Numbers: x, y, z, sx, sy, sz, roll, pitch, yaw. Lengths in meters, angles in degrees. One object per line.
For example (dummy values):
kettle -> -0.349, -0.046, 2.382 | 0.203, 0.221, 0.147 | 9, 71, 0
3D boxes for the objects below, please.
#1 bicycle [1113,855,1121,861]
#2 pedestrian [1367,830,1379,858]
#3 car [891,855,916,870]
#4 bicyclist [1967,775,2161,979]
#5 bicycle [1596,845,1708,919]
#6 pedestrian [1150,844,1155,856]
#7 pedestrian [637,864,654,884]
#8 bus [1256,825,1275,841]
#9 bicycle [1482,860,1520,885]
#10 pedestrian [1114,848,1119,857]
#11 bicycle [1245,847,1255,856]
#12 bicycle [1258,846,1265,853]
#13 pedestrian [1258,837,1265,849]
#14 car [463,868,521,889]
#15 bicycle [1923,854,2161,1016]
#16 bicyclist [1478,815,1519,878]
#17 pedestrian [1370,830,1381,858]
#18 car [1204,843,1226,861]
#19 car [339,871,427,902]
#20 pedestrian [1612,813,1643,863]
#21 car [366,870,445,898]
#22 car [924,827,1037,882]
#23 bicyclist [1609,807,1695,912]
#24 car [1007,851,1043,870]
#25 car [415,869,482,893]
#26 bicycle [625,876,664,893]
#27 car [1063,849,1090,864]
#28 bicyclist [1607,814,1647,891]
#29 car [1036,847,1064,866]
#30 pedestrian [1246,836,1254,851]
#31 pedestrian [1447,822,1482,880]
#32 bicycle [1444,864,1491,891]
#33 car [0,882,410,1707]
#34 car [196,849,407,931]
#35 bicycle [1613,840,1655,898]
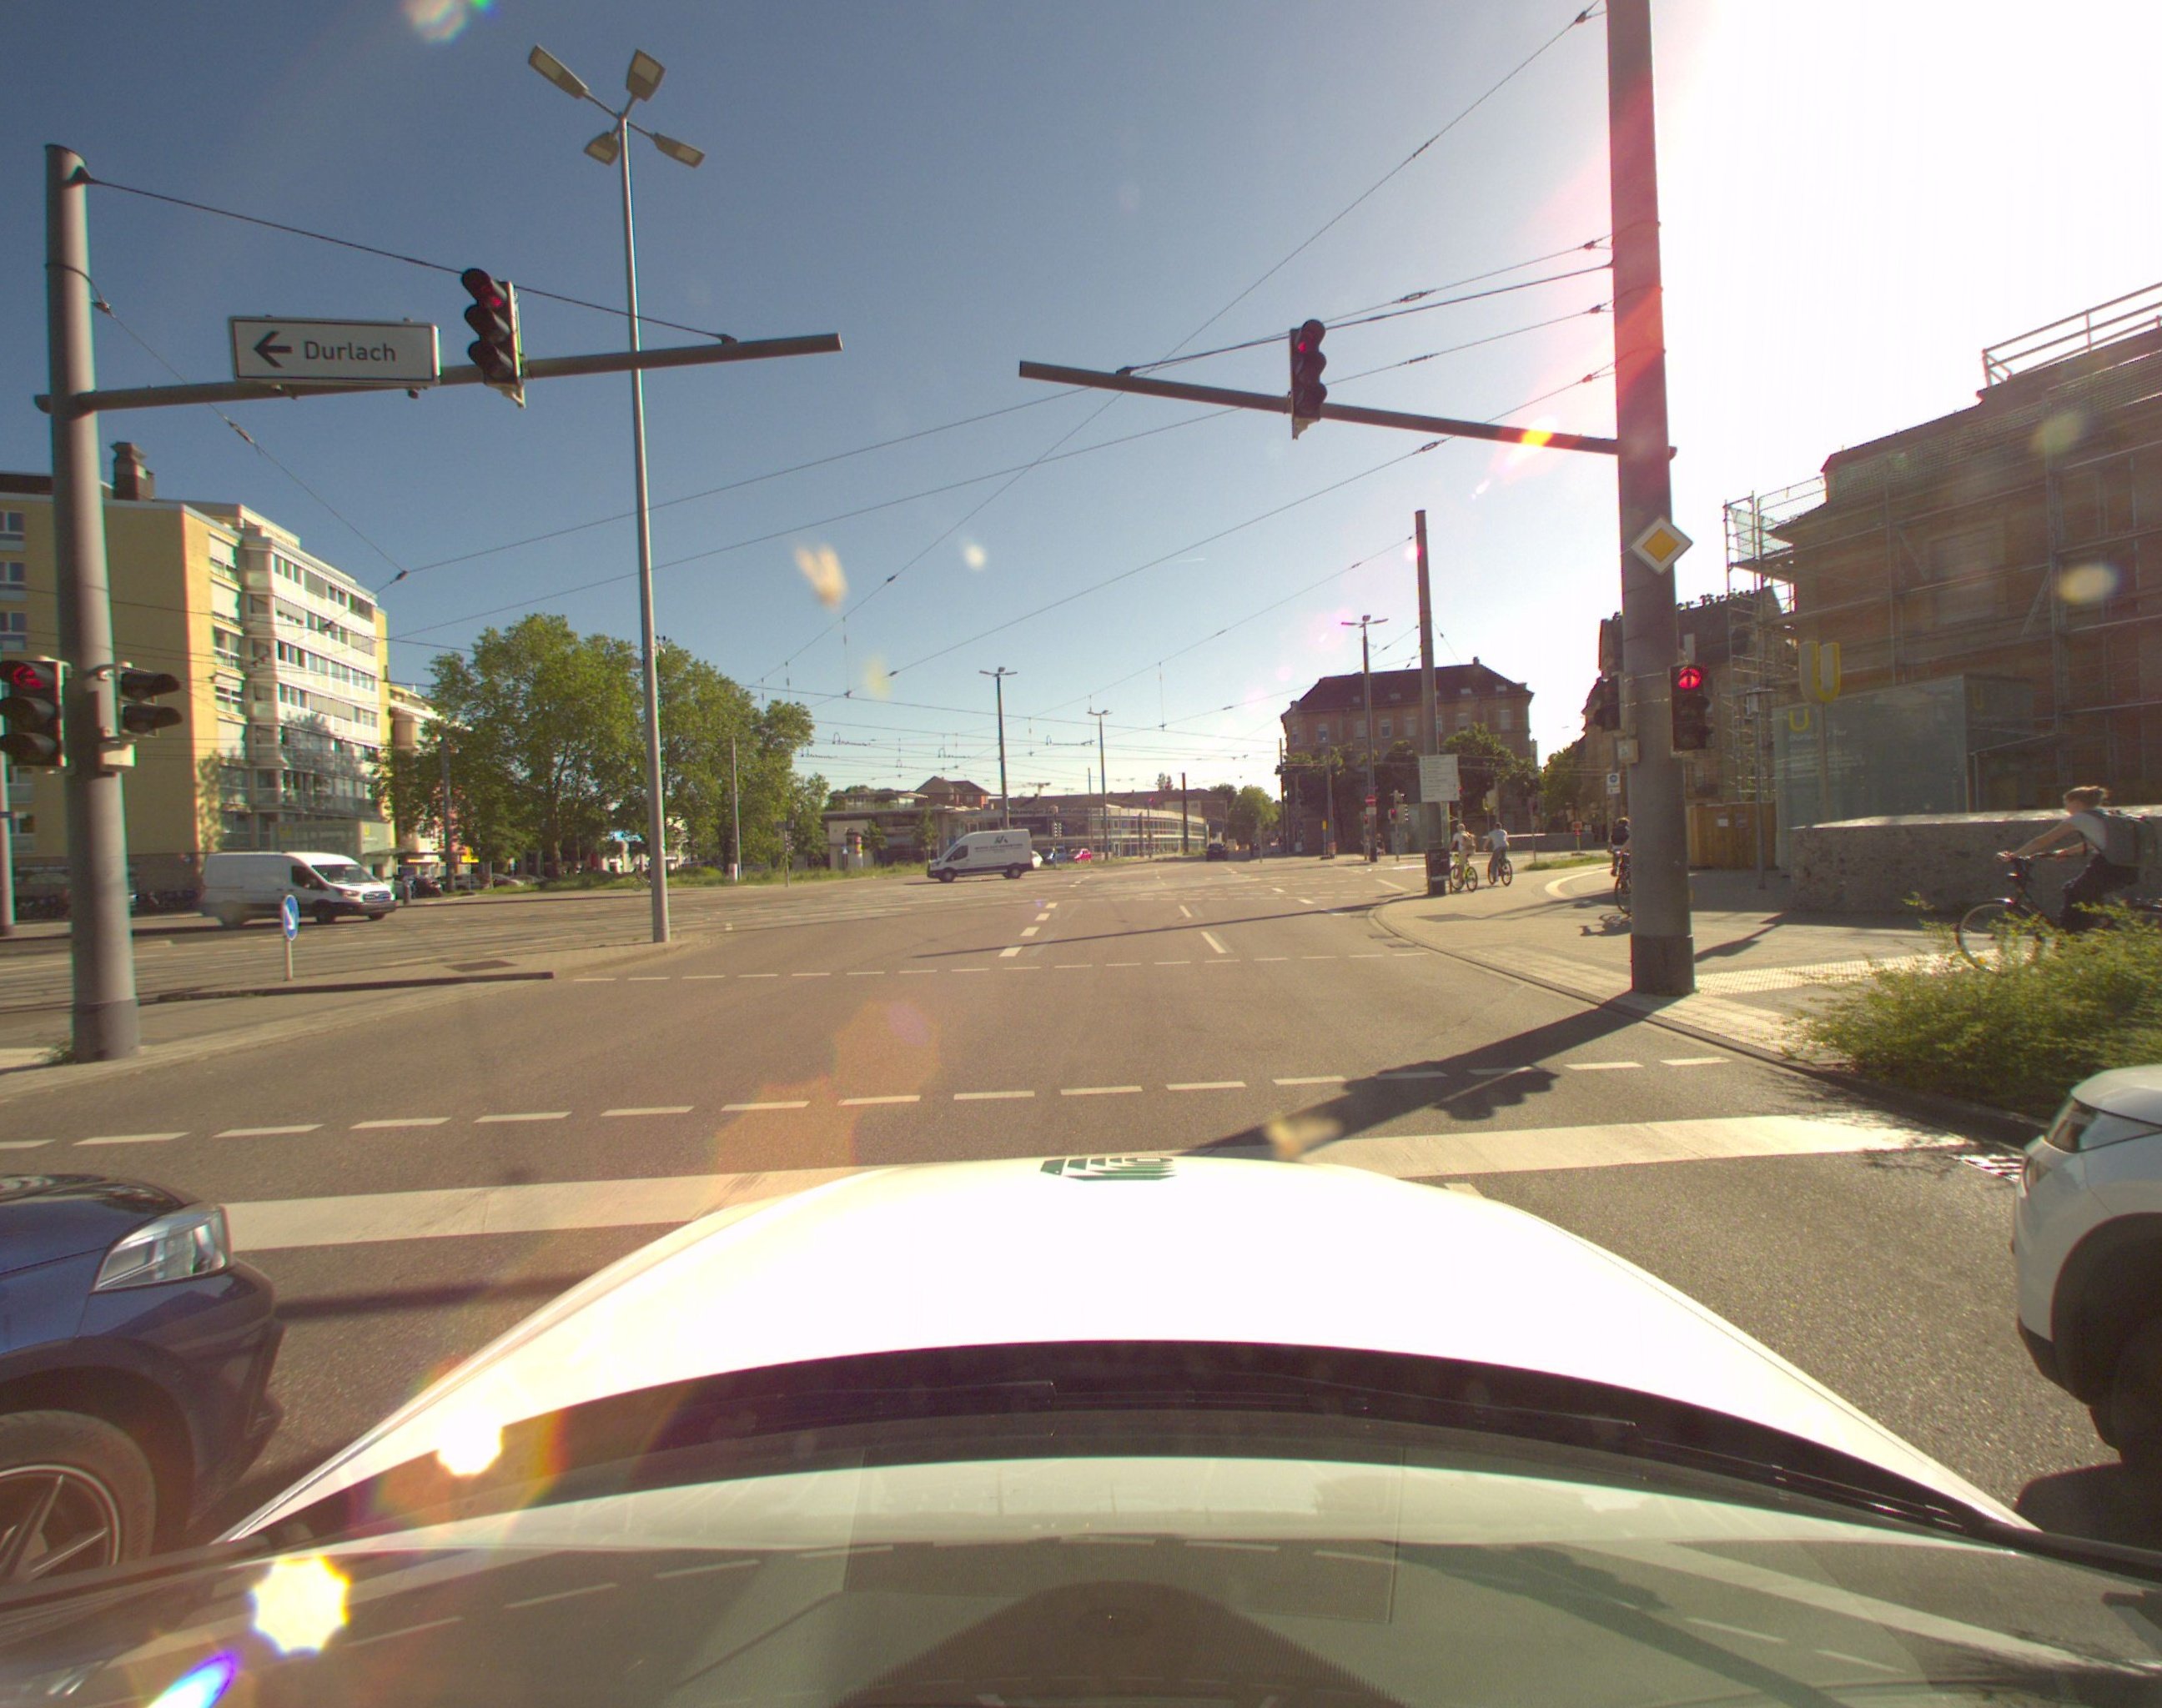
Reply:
bicycle -> 4.498, 0.461, 102.517 | 0.419, 0.718, 1.483 | -2, 0, 24
pedestrian -> 21.397, -0.714, 59.650 | 0.574, 2.013, 0.449 | -3, 0, -16
car -> -21.873, 1.075, 100.592 | 1.958, 1.706, 4.085 | -2, 0, 2
bicyclist -> 8.389, 0.177, 6.898 | 0.682, 1.598, 0.978 | -2, 0, 4
bicycle -> 9.612, 0.437, 13.808 | 0.622, 1.113, 1.853 | -6, 0, 5
pedestrian -> 10.650, -0.604, 120.737 | 0.537, 1.688, 0.634 | -2, 0, 25
pedestrian -> -26.759, 1.229, 50.029 | 0.797, 1.204, 0.556 | -2, 0, -23
bus -> 47.236, -5.232, 207.601 | 3.808, 3.607, 24.966 | -1, 0, 15
bicycle -> 12.304, 0.519, 23.878 | 0.534, 0.655, 1.471 | -3, 0, 9
pedestrian -> 4.472, -0.189, 102.512 | 0.419, 1.204, 0.684 | -2, 0, 23
bicycle -> 18.531, -0.274, 89.185 | 0.736, 0.870, 1.941 | -2, 0, 20
bicycle -> 23.165, -0.628, 104.554 | 0.737, 0.870, 1.940 | -2, 0, 17
pedestrian -> 23.130, -1.358, 104.531 | 0.740, 1.523, 0.721 | -2, 0, 17
car -> -51.411, 2.126, 71.149 | 3.742, 1.662, 1.585 | -2, 0, -18
bicycle -> 8.405, 0.602, 6.887 | 0.682, 1.163, 1.886 | -2, 0, 4
bicyclist -> 12.245, -0.230, 23.932 | 0.742, 1.778, 0.926 | -3, 0, 9
pedestrian -> 21.821, -0.741, 60.351 | 0.461, 2.013, 0.449 | -3, 0, -16
car -> 12.246, -0.197, 74.147 | 1.687, 1.503, 4.280 | -2, 0, 13
car -> -42.874, 2.003, 50.097 | 3.742, 1.662, 1.585 | -2, 0, -18
pedestrian -> 20.889, -0.616, 31.104 | 0.887, 1.859, 0.933 | -2, 0, 36
car -> -45.748, 2.041, 55.208 | 3.742, 1.662, 1.585 | -2, 0, -18
car -> -5.655, 0.012, 45.829 | 5.921, 2.744, 2.131 | -2, 0, -18
bicyclist -> 9.562, 0.085, 13.678 | 0.622, 1.637, 0.996 | -6, 0, 5
car -> -4.475, 0.517, 65.221 | 1.613, 1.382, 3.754 | -2, 0, 17
car -> -49.836, 2.098, 64.226 | 3.742, 1.662, 1.585 | -2, 0, -18
bicycle -> -26.798, 1.842, 50.002 | 2.014, 0.913, 0.558 | -2, 0, -24
car -> -0.443, 0.247, 86.285 | 1.613, 1.364, 3.703 | -2, 0, 18
bicyclist -> 11.636, -0.035, 17.380 | 0.566, 1.568, 0.953 | -4, 0, 30
car -> -2.995, 0.240, 79.214 | 1.613, 1.692, 3.702 | -2, 0, 17
pedestrian -> 18.568, -1.158, 89.475 | 0.796, 1.632, 0.722 | -2, 0, 20
pedestrian -> 10.598, -0.075, 22.526 | 0.546, 1.562, 0.859 | -2, 0, 4
bicycle -> 10.681, 0.626, 22.555 | 0.534, 0.655, 1.727 | -5, 0, 4
car -> -2.677, 0.805, 0.113 | 1.704, 1.445, 4.034 | -1, 0, 2
car -> -26.760, 1.185, 28.072 | 5.379, 2.508, 2.002 | -2, 0, 2
bicycle -> 11.765, 0.300, 17.370 | 0.566, 1.125, 1.751 | -4, 0, 30
